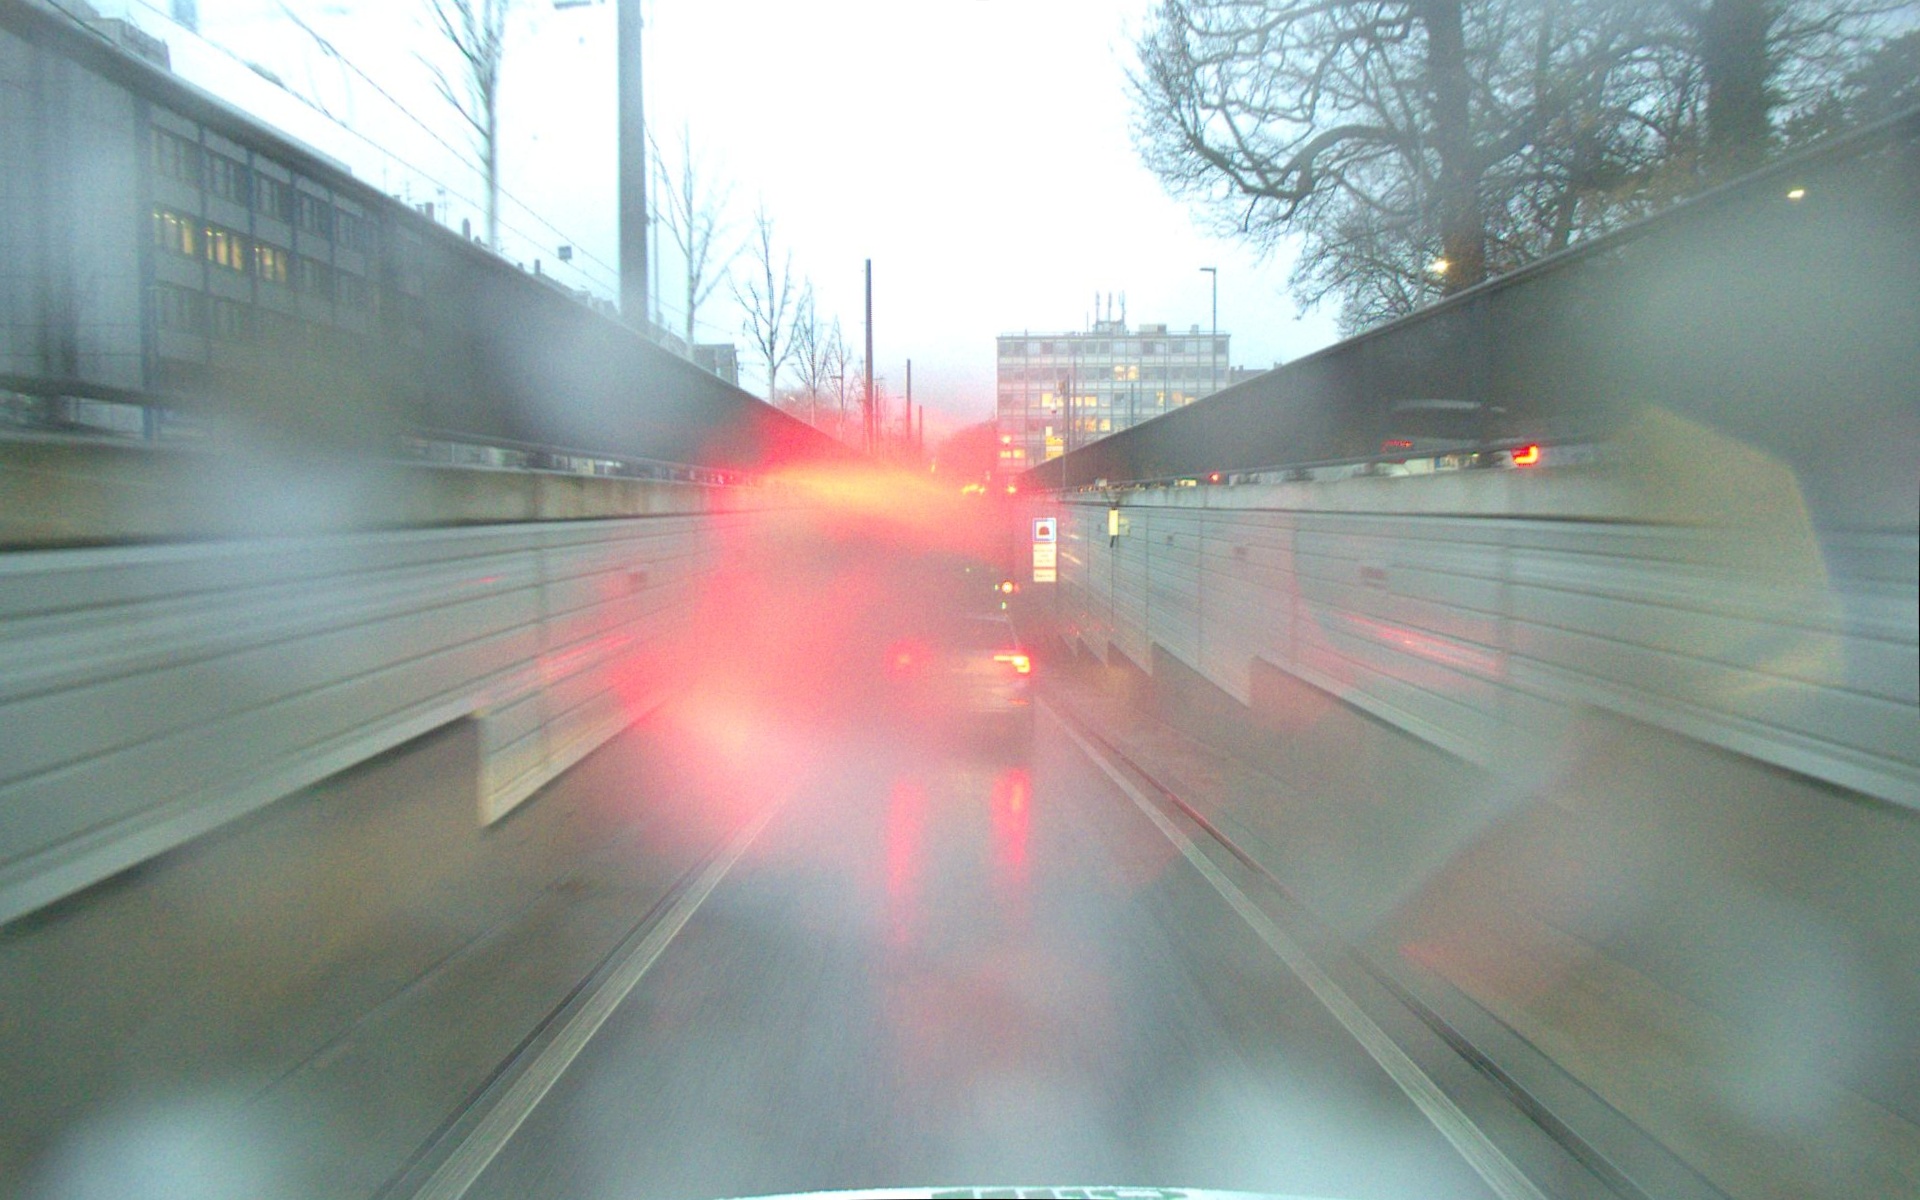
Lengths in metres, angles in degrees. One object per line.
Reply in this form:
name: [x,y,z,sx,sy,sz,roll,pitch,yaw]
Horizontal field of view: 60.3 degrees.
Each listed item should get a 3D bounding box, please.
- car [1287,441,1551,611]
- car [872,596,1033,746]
car: [4.607,-0.771,17.189,1.687,1.504,4.002,2,3,1]
car: [-0.026,0.763,19.768,1.687,1.505,4.001,2,1,1]
